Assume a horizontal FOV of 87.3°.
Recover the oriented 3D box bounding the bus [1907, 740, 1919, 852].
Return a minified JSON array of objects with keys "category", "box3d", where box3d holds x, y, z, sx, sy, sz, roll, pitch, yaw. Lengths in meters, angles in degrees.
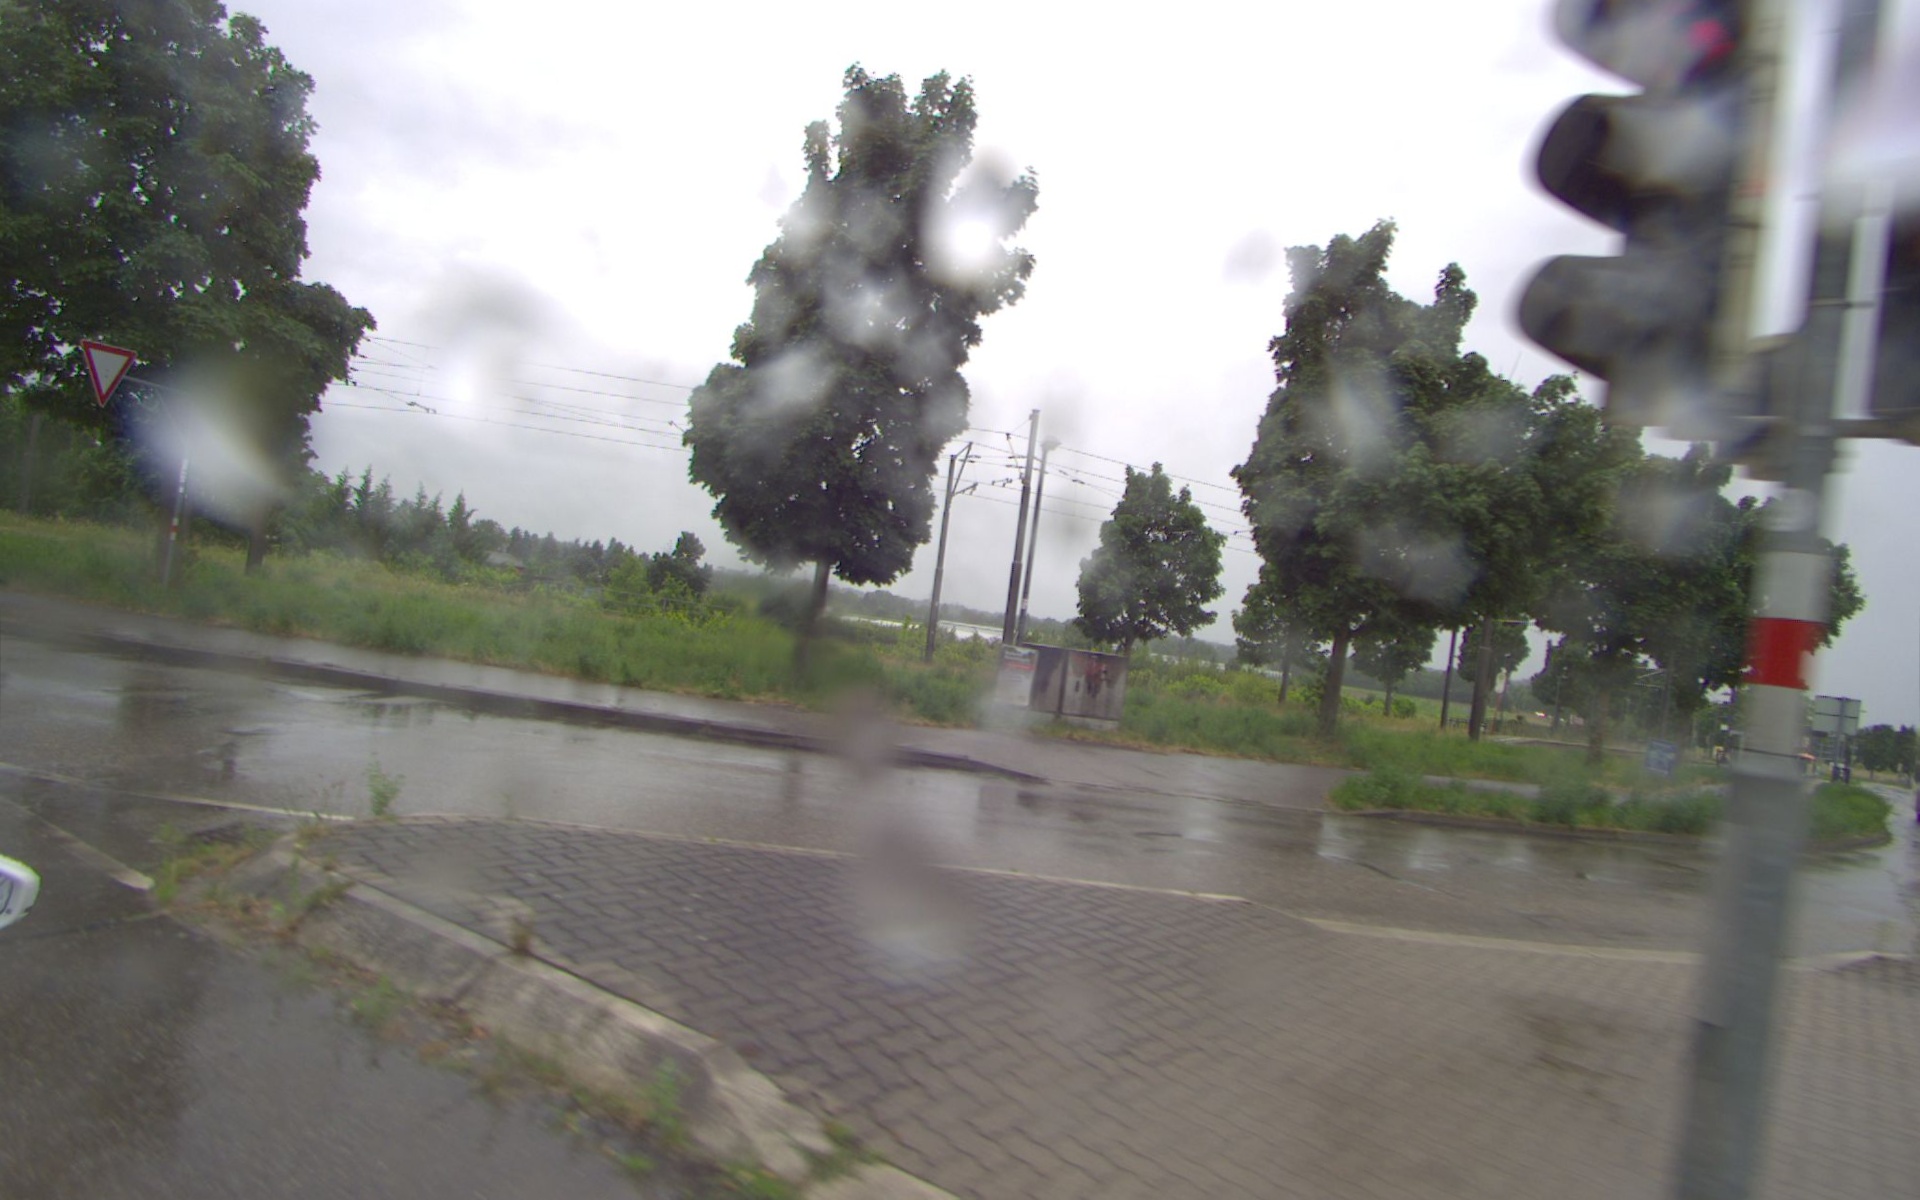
[{"category":"bus","box3d":[28.767,5.394,27.938,2.718,3.829,18.356,8,-1,42]}]
